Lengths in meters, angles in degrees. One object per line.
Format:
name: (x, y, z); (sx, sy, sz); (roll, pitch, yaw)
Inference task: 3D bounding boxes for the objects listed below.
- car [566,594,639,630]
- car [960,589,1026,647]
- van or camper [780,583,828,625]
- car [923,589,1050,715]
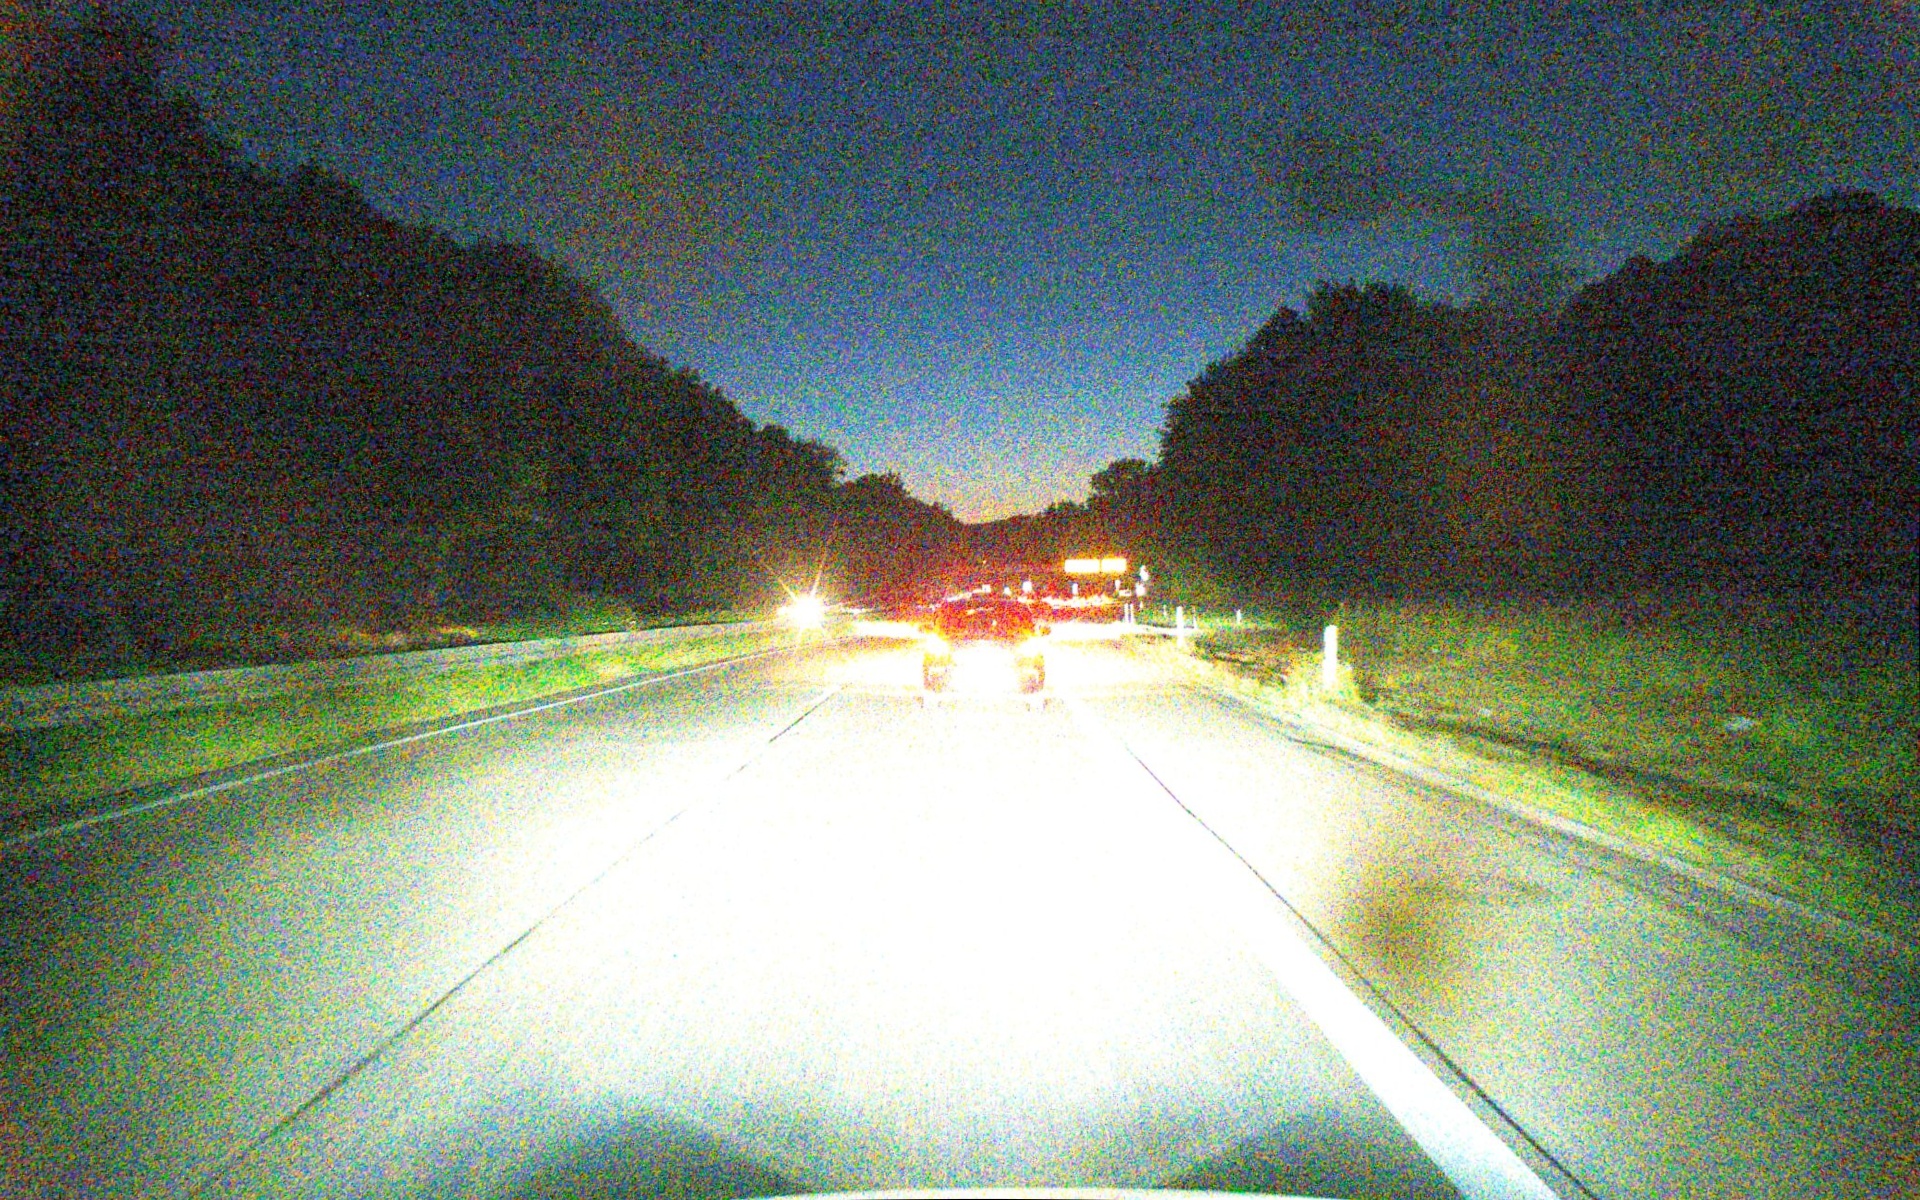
car: (-16.064, 0.538, 74.546); (1.782, 1.467, 4.479); (-2, 0, 7)
car: (1.093, 0.544, 52.504); (1.866, 1.728, 4.002); (0, 1, 4)
van or camper: (-10.478, 0.226, 111.759); (2.247, 2.663, 7.667); (-1, 0, 1)
car: (0.296, 0.641, 22.707); (1.556, 1.534, 3.999); (1, 0, -1)
